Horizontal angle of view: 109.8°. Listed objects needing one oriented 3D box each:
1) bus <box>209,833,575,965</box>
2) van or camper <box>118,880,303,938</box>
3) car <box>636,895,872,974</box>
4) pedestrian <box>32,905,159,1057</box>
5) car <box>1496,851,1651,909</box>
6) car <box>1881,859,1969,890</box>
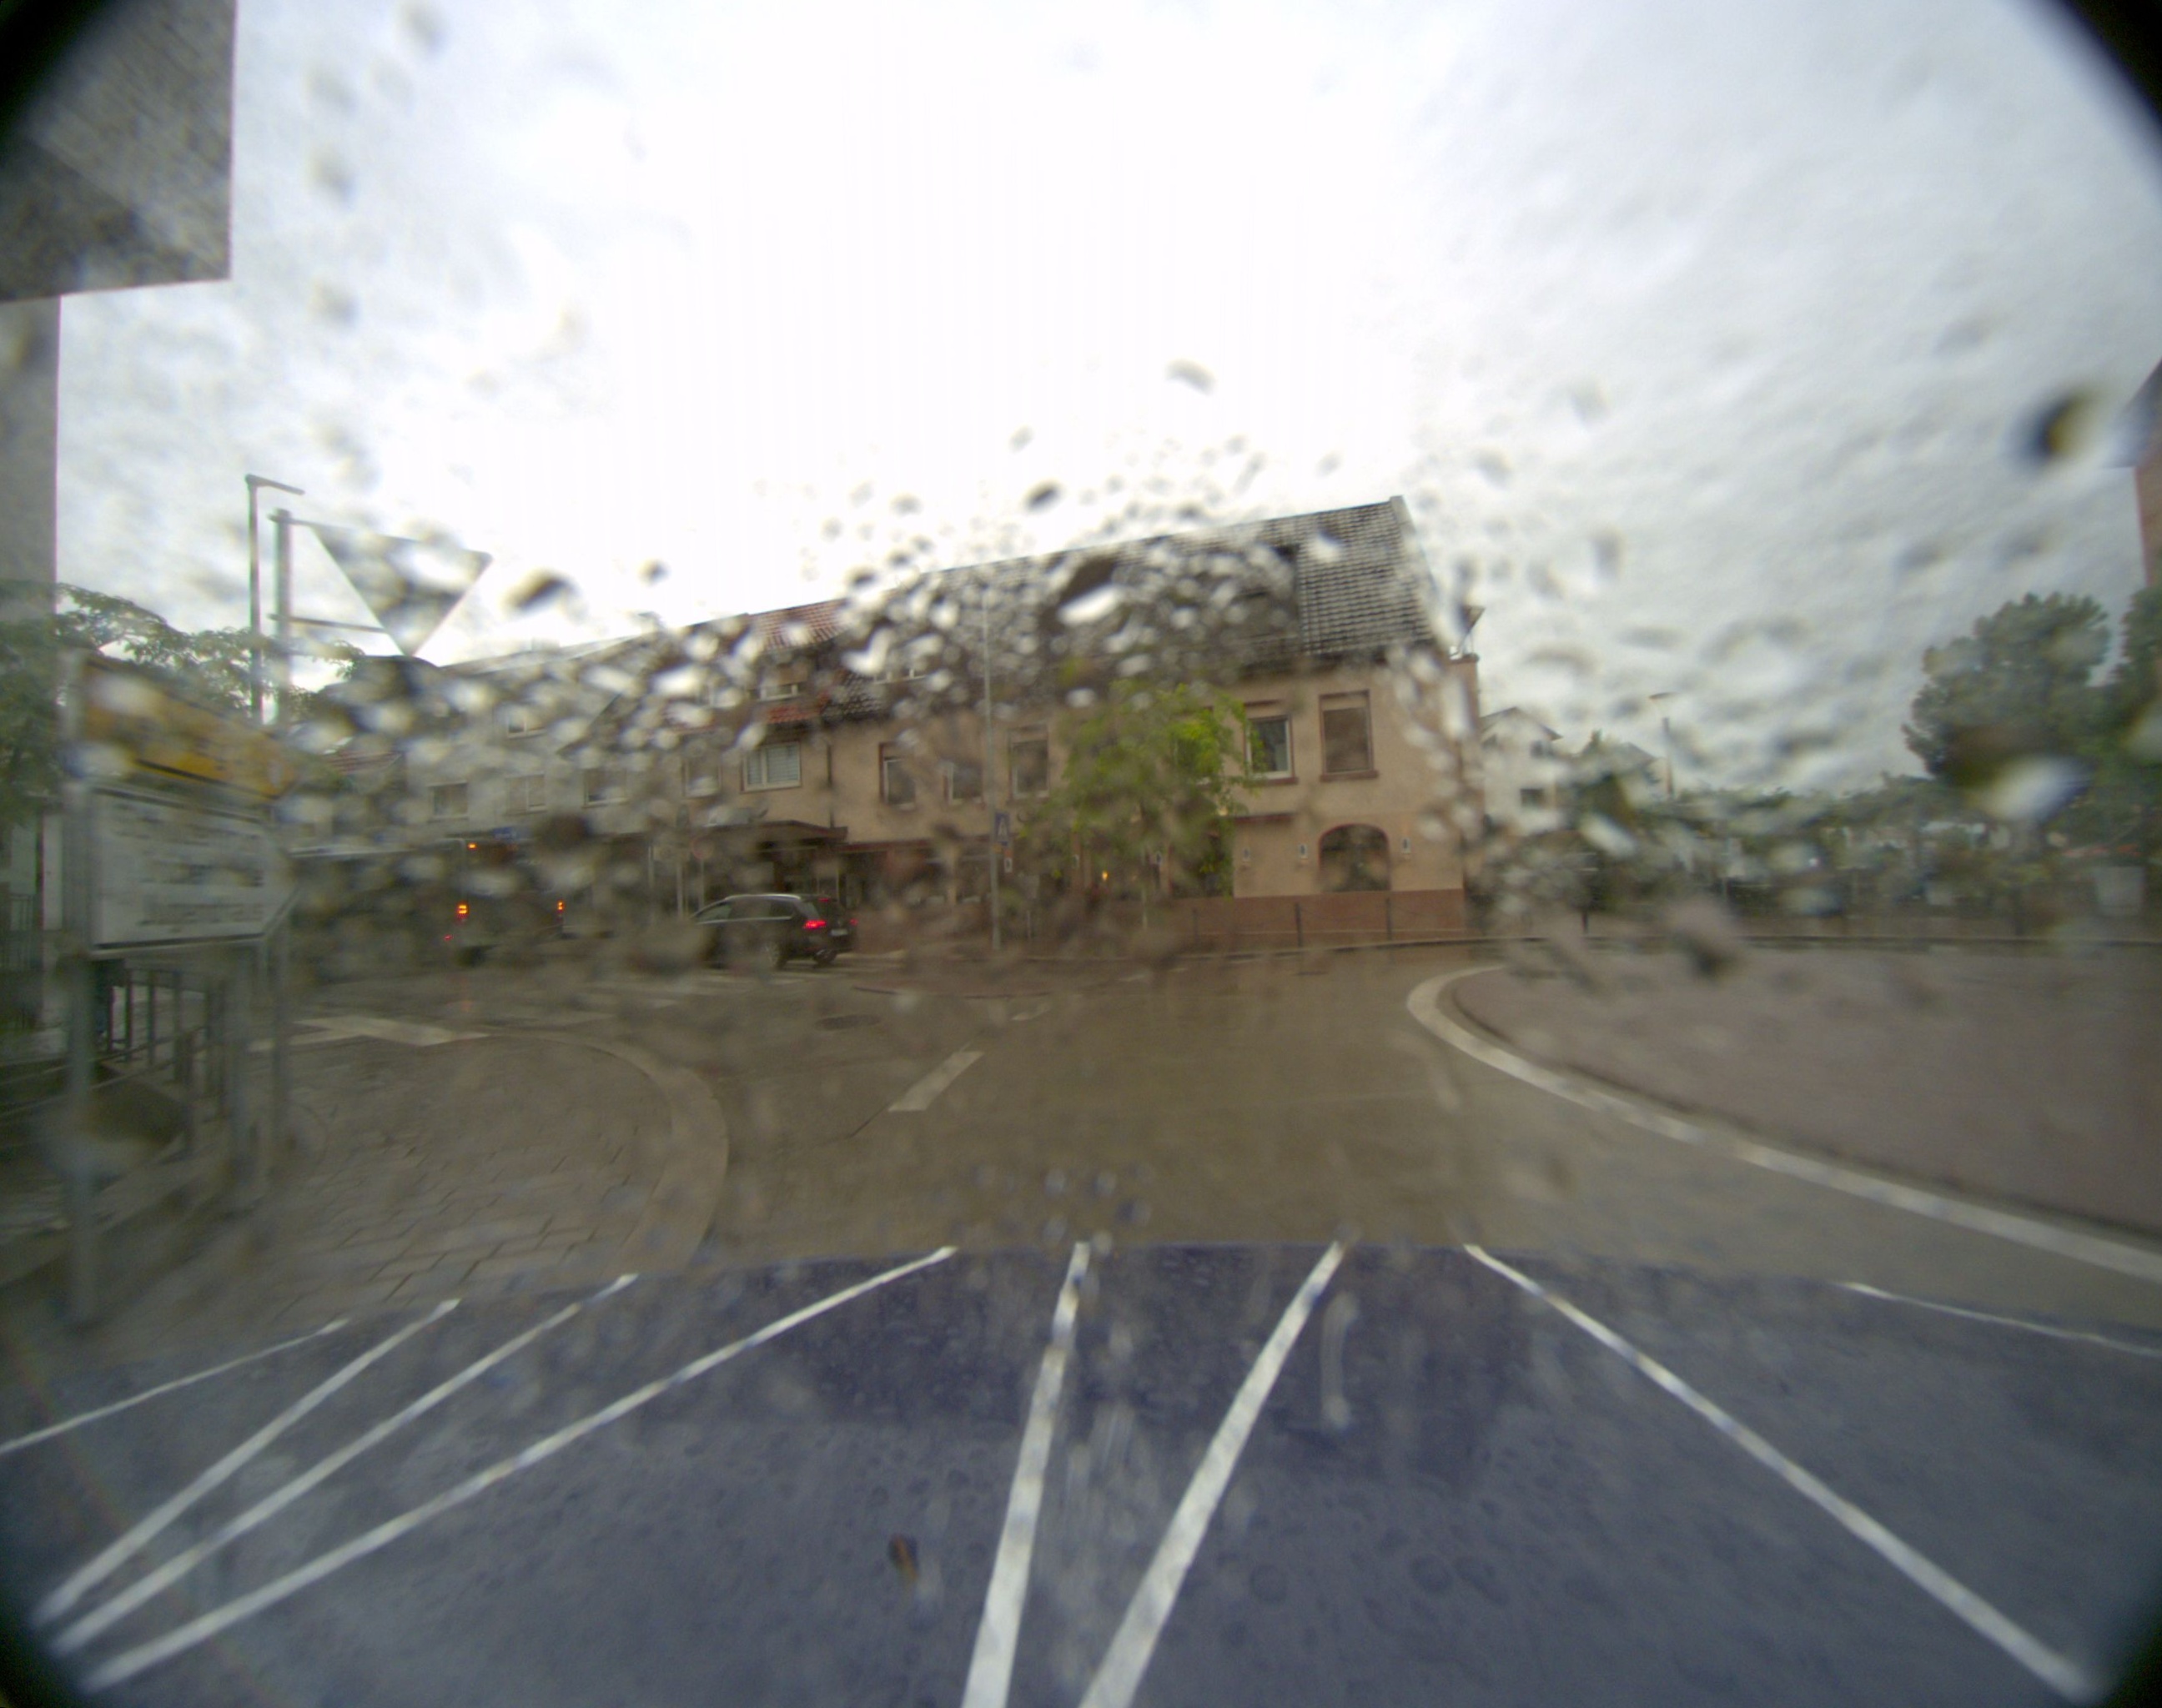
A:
[{"bbox_3d":[-19.044,1.231,20.818,10.921,3.061,2.737,-2,-1,21],"label":"bus"},{"bbox_3d":[-39.432,2.412,34.656,1.996,1.923,5.043,-1,4,17],"label":"van or camper"},{"bbox_3d":[-6.643,1.616,15.459,4.459,1.421,1.674,-3,-3,20],"label":"car"},{"bbox_3d":[-10.940,1.379,8.450,0.702,1.595,0.585,-1,-3,14],"label":"pedestrian"},{"bbox_3d":[17.893,0.932,27.896,4.478,2.001,2.003,-1,-1,22],"label":"car"},{"bbox_3d":[41.745,0.984,37.689,1.869,1.433,4.008,-1,-1,32],"label":"car"}]
